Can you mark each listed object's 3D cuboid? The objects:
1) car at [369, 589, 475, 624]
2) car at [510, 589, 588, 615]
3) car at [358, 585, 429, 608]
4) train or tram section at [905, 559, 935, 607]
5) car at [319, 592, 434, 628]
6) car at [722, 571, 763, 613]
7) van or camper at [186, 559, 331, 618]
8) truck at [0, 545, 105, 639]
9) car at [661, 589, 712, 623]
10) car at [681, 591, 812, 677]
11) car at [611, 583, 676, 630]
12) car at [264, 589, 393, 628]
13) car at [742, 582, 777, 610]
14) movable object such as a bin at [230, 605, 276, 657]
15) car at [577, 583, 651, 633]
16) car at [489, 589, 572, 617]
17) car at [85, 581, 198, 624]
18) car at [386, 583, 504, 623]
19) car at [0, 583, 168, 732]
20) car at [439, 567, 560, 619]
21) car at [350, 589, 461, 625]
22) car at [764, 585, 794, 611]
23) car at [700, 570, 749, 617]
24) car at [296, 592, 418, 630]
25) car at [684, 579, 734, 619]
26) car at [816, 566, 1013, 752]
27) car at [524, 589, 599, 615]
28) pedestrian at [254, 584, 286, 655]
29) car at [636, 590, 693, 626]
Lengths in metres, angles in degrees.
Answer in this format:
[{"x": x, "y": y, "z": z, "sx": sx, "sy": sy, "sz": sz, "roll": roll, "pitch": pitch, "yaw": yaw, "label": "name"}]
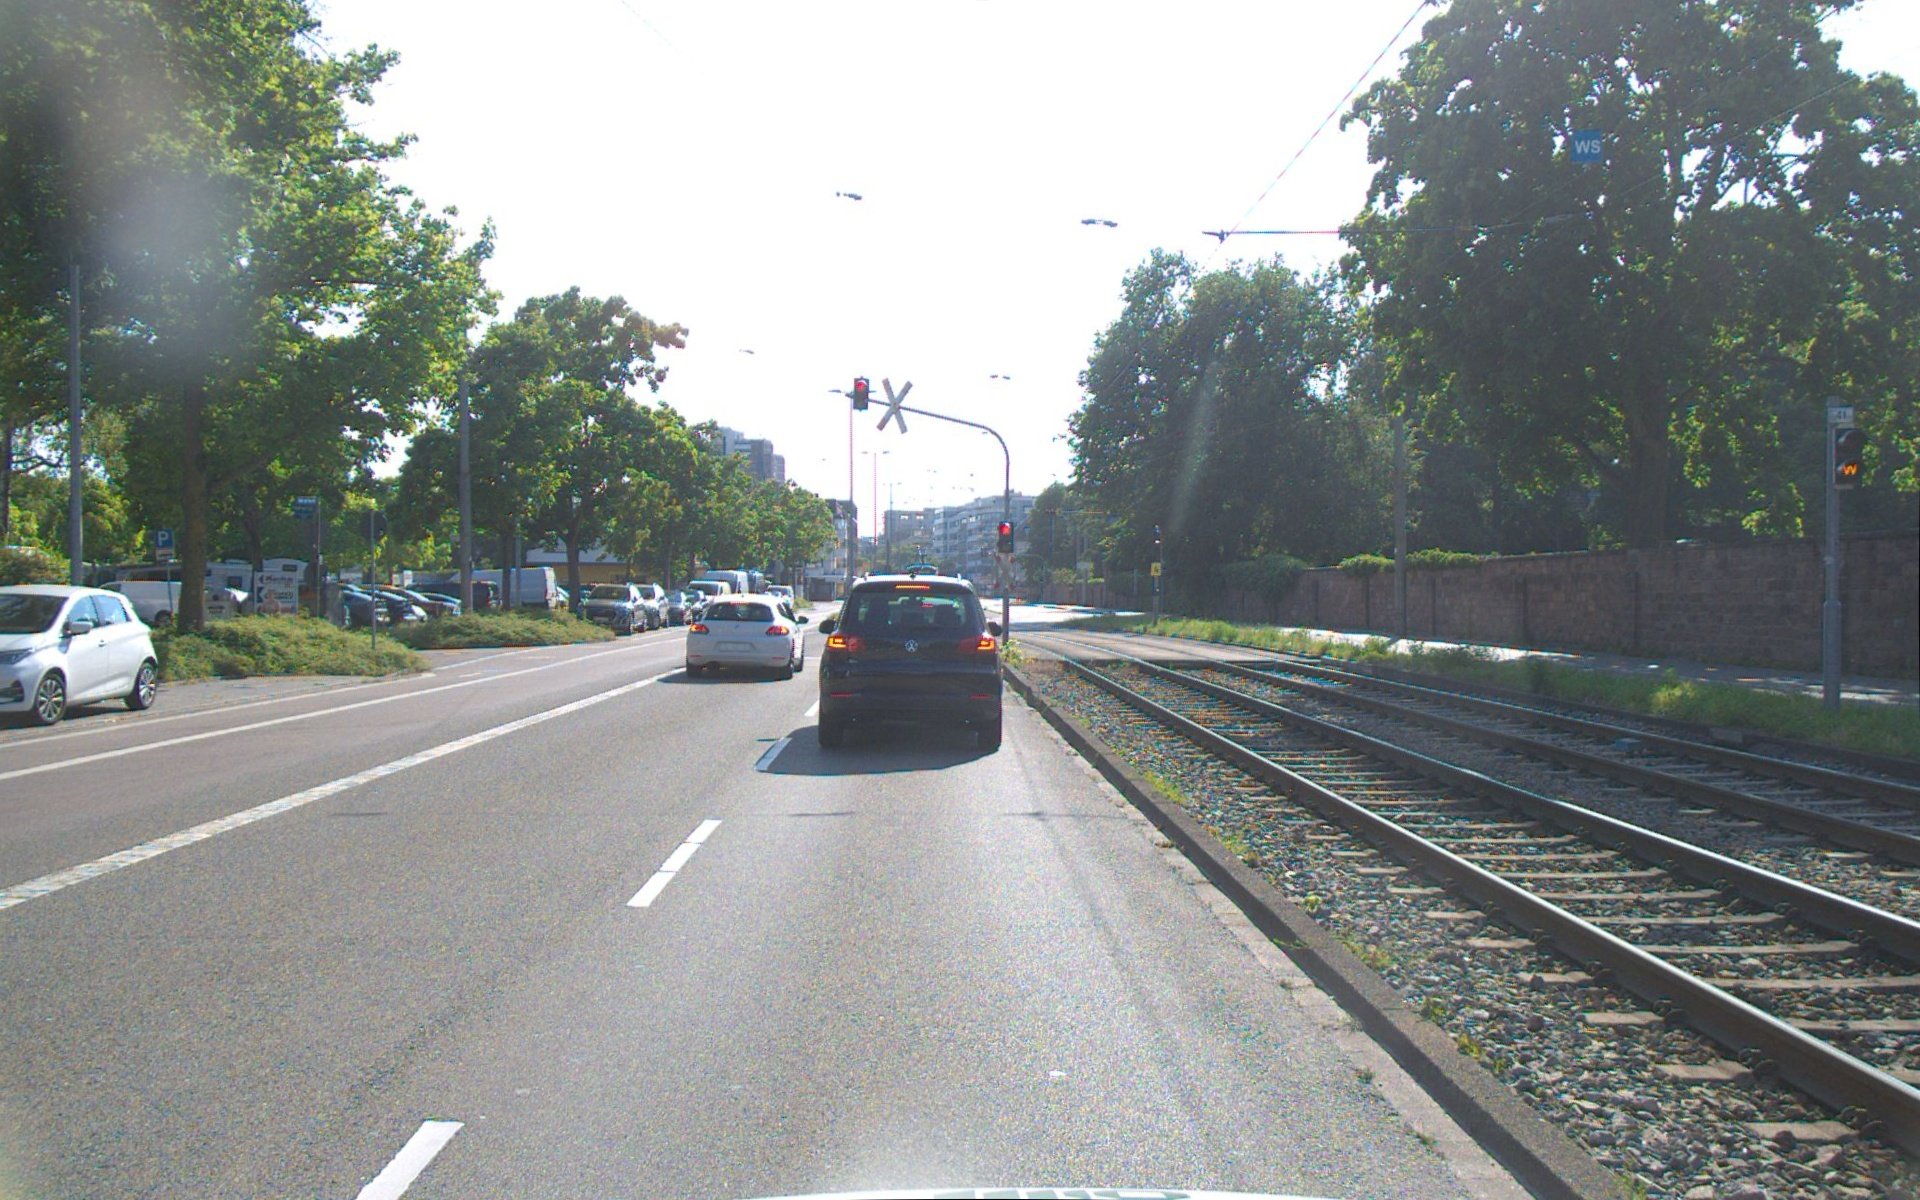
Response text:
[{"x": -22.599, "y": 0.248, "z": 69.582, "sx": 3.909, "sy": 1.422, "sz": 1.736, "roll": 0, "pitch": 0, "yaw": -5, "label": "car"}, {"x": -22.585, "y": 0.101, "z": 90.896, "sx": 3.909, "sy": 1.422, "sz": 1.736, "roll": 0, "pitch": 0, "yaw": -5, "label": "car"}, {"x": -35.814, "y": -0.237, "z": 104.618, "sx": 3.909, "sy": 1.422, "sz": 1.736, "roll": 0, "pitch": 0, "yaw": -5, "label": "car"}, {"x": -3.090, "y": -1.314, "z": 129.768, "sx": 2.279, "sy": 3.632, "sz": 8.898, "roll": 0, "pitch": 0, "yaw": -1, "label": "train or tram section"}, {"x": -22.680, "y": 0.375, "z": 64.398, "sx": 3.909, "sy": 1.330, "sz": 1.736, "roll": 0, "pitch": 0, "yaw": -5, "label": "car"}, {"x": -12.319, "y": -0.461, "z": 93.911, "sx": 1.696, "sy": 2.308, "sz": 4.645, "roll": 0, "pitch": 0, "yaw": 0, "label": "car"}, {"x": -35.729, "y": -0.574, "z": 84.362, "sx": 6.332, "sy": 2.918, "sz": 2.307, "roll": 0, "pitch": 0, "yaw": -1, "label": "van or camper"}, {"x": -34.640, "y": -0.288, "z": 59.271, "sx": 6.823, "sy": 3.298, "sz": 1.986, "roll": 0, "pitch": 0, "yaw": -3, "label": "truck"}, {"x": -12.382, "y": 0.261, "z": 75.087, "sx": 1.696, "sy": 1.475, "sz": 3.735, "roll": 0, "pitch": 1, "yaw": 0, "label": "car"}, {"x": -3.663, "y": 0.549, "z": 28.939, "sx": 1.827, "sy": 1.371, "sz": 3.999, "roll": 1, "pitch": 0, "yaw": -1, "label": "car"}, {"x": -12.025, "y": 0.221, "z": 63.076, "sx": 1.696, "sy": 1.724, "sz": 4.000, "roll": 0, "pitch": 1, "yaw": 0, "label": "car"}, {"x": -22.307, "y": 0.289, "z": 58.526, "sx": 3.909, "sy": 1.330, "sz": 1.736, "roll": 0, "pitch": 0, "yaw": -5, "label": "car"}, {"x": -12.776, "y": -0.257, "z": 105.549, "sx": 1.696, "sy": 1.724, "sz": 4.000, "roll": 0, "pitch": 1, "yaw": 0, "label": "car"}, {"x": -16.444, "y": 0.720, "z": 38.494, "sx": 0.531, "sy": 1.166, "sz": 1.261, "roll": 0, "pitch": 0, "yaw": -1, "label": "movable object such as a bin"}, {"x": -11.942, "y": 0.247, "z": 57.278, "sx": 1.696, "sy": 1.687, "sz": 4.000, "roll": 0, "pitch": 0, "yaw": 0, "label": "car"}, {"x": -22.152, "y": 0.142, "z": 85.434, "sx": 3.909, "sy": 1.422, "sz": 1.736, "roll": 0, "pitch": 0, "yaw": -5, "label": "car"}, {"x": -34.310, "y": 0.100, "z": 69.411, "sx": 3.912, "sy": 1.758, "sz": 1.624, "roll": 0, "pitch": 0, "yaw": -8, "label": "car"}, {"x": -22.368, "y": 0.107, "z": 71.976, "sx": 4.526, "sy": 1.680, "sz": 2.048, "roll": 0, "pitch": 0, "yaw": -3, "label": "car"}, {"x": -11.119, "y": 0.605, "z": 19.835, "sx": 1.569, "sy": 1.577, "sz": 3.891, "roll": 2, "pitch": 0, "yaw": -4, "label": "car"}, {"x": -22.250, "y": -0.330, "z": 80.000, "sx": 5.266, "sy": 2.466, "sz": 2.087, "roll": 0, "pitch": 0, "yaw": -1, "label": "car"}, {"x": -22.263, "y": 0.271, "z": 66.553, "sx": 3.909, "sy": 1.422, "sz": 1.736, "roll": 0, "pitch": 0, "yaw": -5, "label": "car"}, {"x": -12.782, "y": -0.161, "z": 116.934, "sx": 1.696, "sy": 1.724, "sz": 4.000, "roll": 0, "pitch": 1, "yaw": 0, "label": "car"}, {"x": -12.384, "y": -0.374, "z": 87.081, "sx": 1.825, "sy": 2.388, "sz": 4.985, "roll": 0, "pitch": 0, "yaw": 0, "label": "car"}, {"x": -22.254, "y": 0.399, "z": 61.122, "sx": 3.909, "sy": 1.330, "sz": 1.736, "roll": 0, "pitch": 0, "yaw": -5, "label": "car"}, {"x": -12.182, "y": -0.053, "z": 80.411, "sx": 1.696, "sy": 1.892, "sz": 4.489, "roll": 0, "pitch": 0, "yaw": 0, "label": "car"}, {"x": -0.450, "y": 0.540, "z": 17.134, "sx": 1.774, "sy": 1.673, "sz": 3.999, "roll": 1, "pitch": 0, "yaw": -1, "label": "car"}, {"x": -22.415, "y": 0.091, "z": 93.131, "sx": 3.909, "sy": 1.422, "sz": 1.736, "roll": 0, "pitch": 0, "yaw": -5, "label": "car"}, {"x": -16.452, "y": 0.459, "z": 39.432, "sx": 0.514, "sy": 1.656, "sz": 0.610, "roll": 0, "pitch": 0, "yaw": -1, "label": "pedestrian"}, {"x": -12.315, "y": 0.322, "z": 69.204, "sx": 1.696, "sy": 1.413, "sz": 3.735, "roll": 0, "pitch": 1, "yaw": 0, "label": "car"}]
